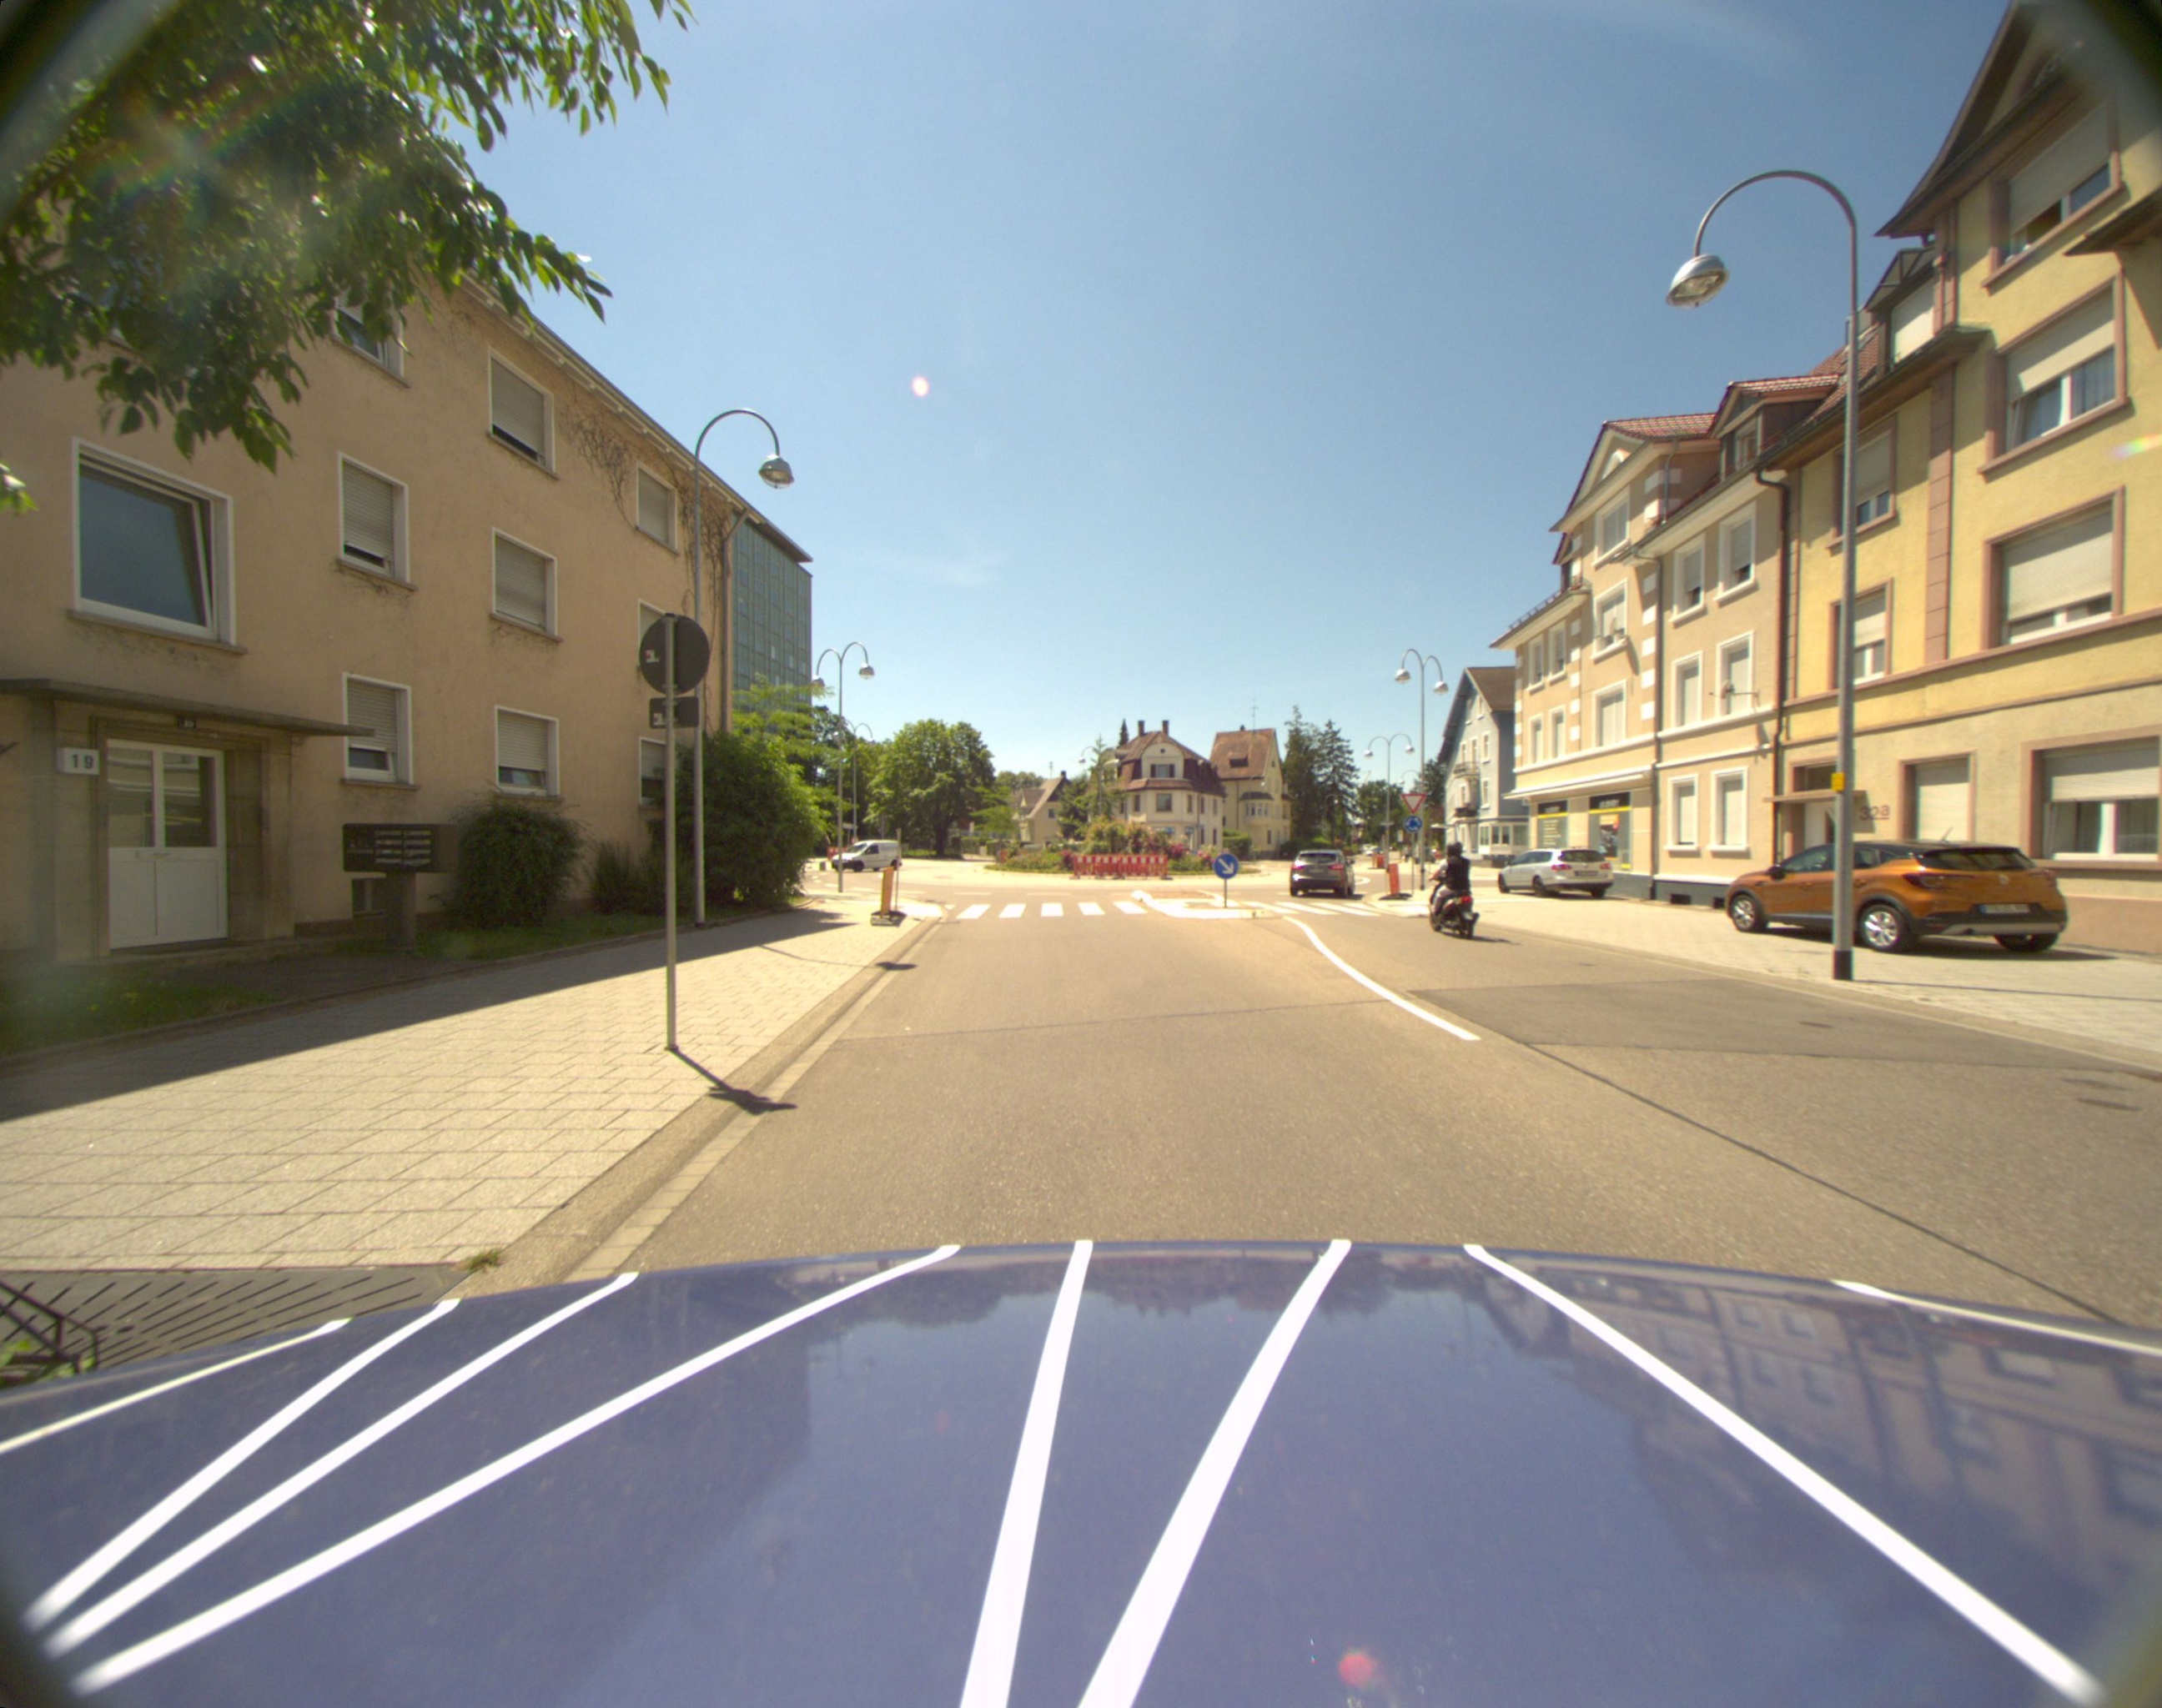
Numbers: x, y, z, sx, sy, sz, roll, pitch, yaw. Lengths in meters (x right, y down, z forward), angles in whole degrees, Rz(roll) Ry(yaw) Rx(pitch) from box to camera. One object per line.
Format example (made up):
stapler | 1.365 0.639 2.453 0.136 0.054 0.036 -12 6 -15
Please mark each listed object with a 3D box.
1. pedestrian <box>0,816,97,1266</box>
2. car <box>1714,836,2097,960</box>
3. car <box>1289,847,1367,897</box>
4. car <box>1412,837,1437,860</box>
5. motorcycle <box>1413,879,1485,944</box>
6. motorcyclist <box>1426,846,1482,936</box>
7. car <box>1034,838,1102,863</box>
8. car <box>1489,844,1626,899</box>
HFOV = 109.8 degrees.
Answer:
pedestrian | -4.709 0.708 2.581 1.174 1.723 1.191 2 2 0
car | 12.091 0.551 11.640 1.798 1.532 4.118 -2 0 9
car | 8.574 0.537 26.144 1.796 1.481 4.398 2 2 28
car | 31.886 -0.539 70.425 1.995 1.838 4.005 0 4 25
motorcycle | 6.519 0.989 13.555 0.607 0.994 1.800 0 1 7
motorcyclist | 6.498 0.614 13.274 0.602 1.516 0.896 0 1 7
car | -0.958 -0.254 54.630 4.569 1.727 1.997 0 1 -15
car | 14.562 0.461 23.592 1.798 1.494 4.949 -1 0 9
